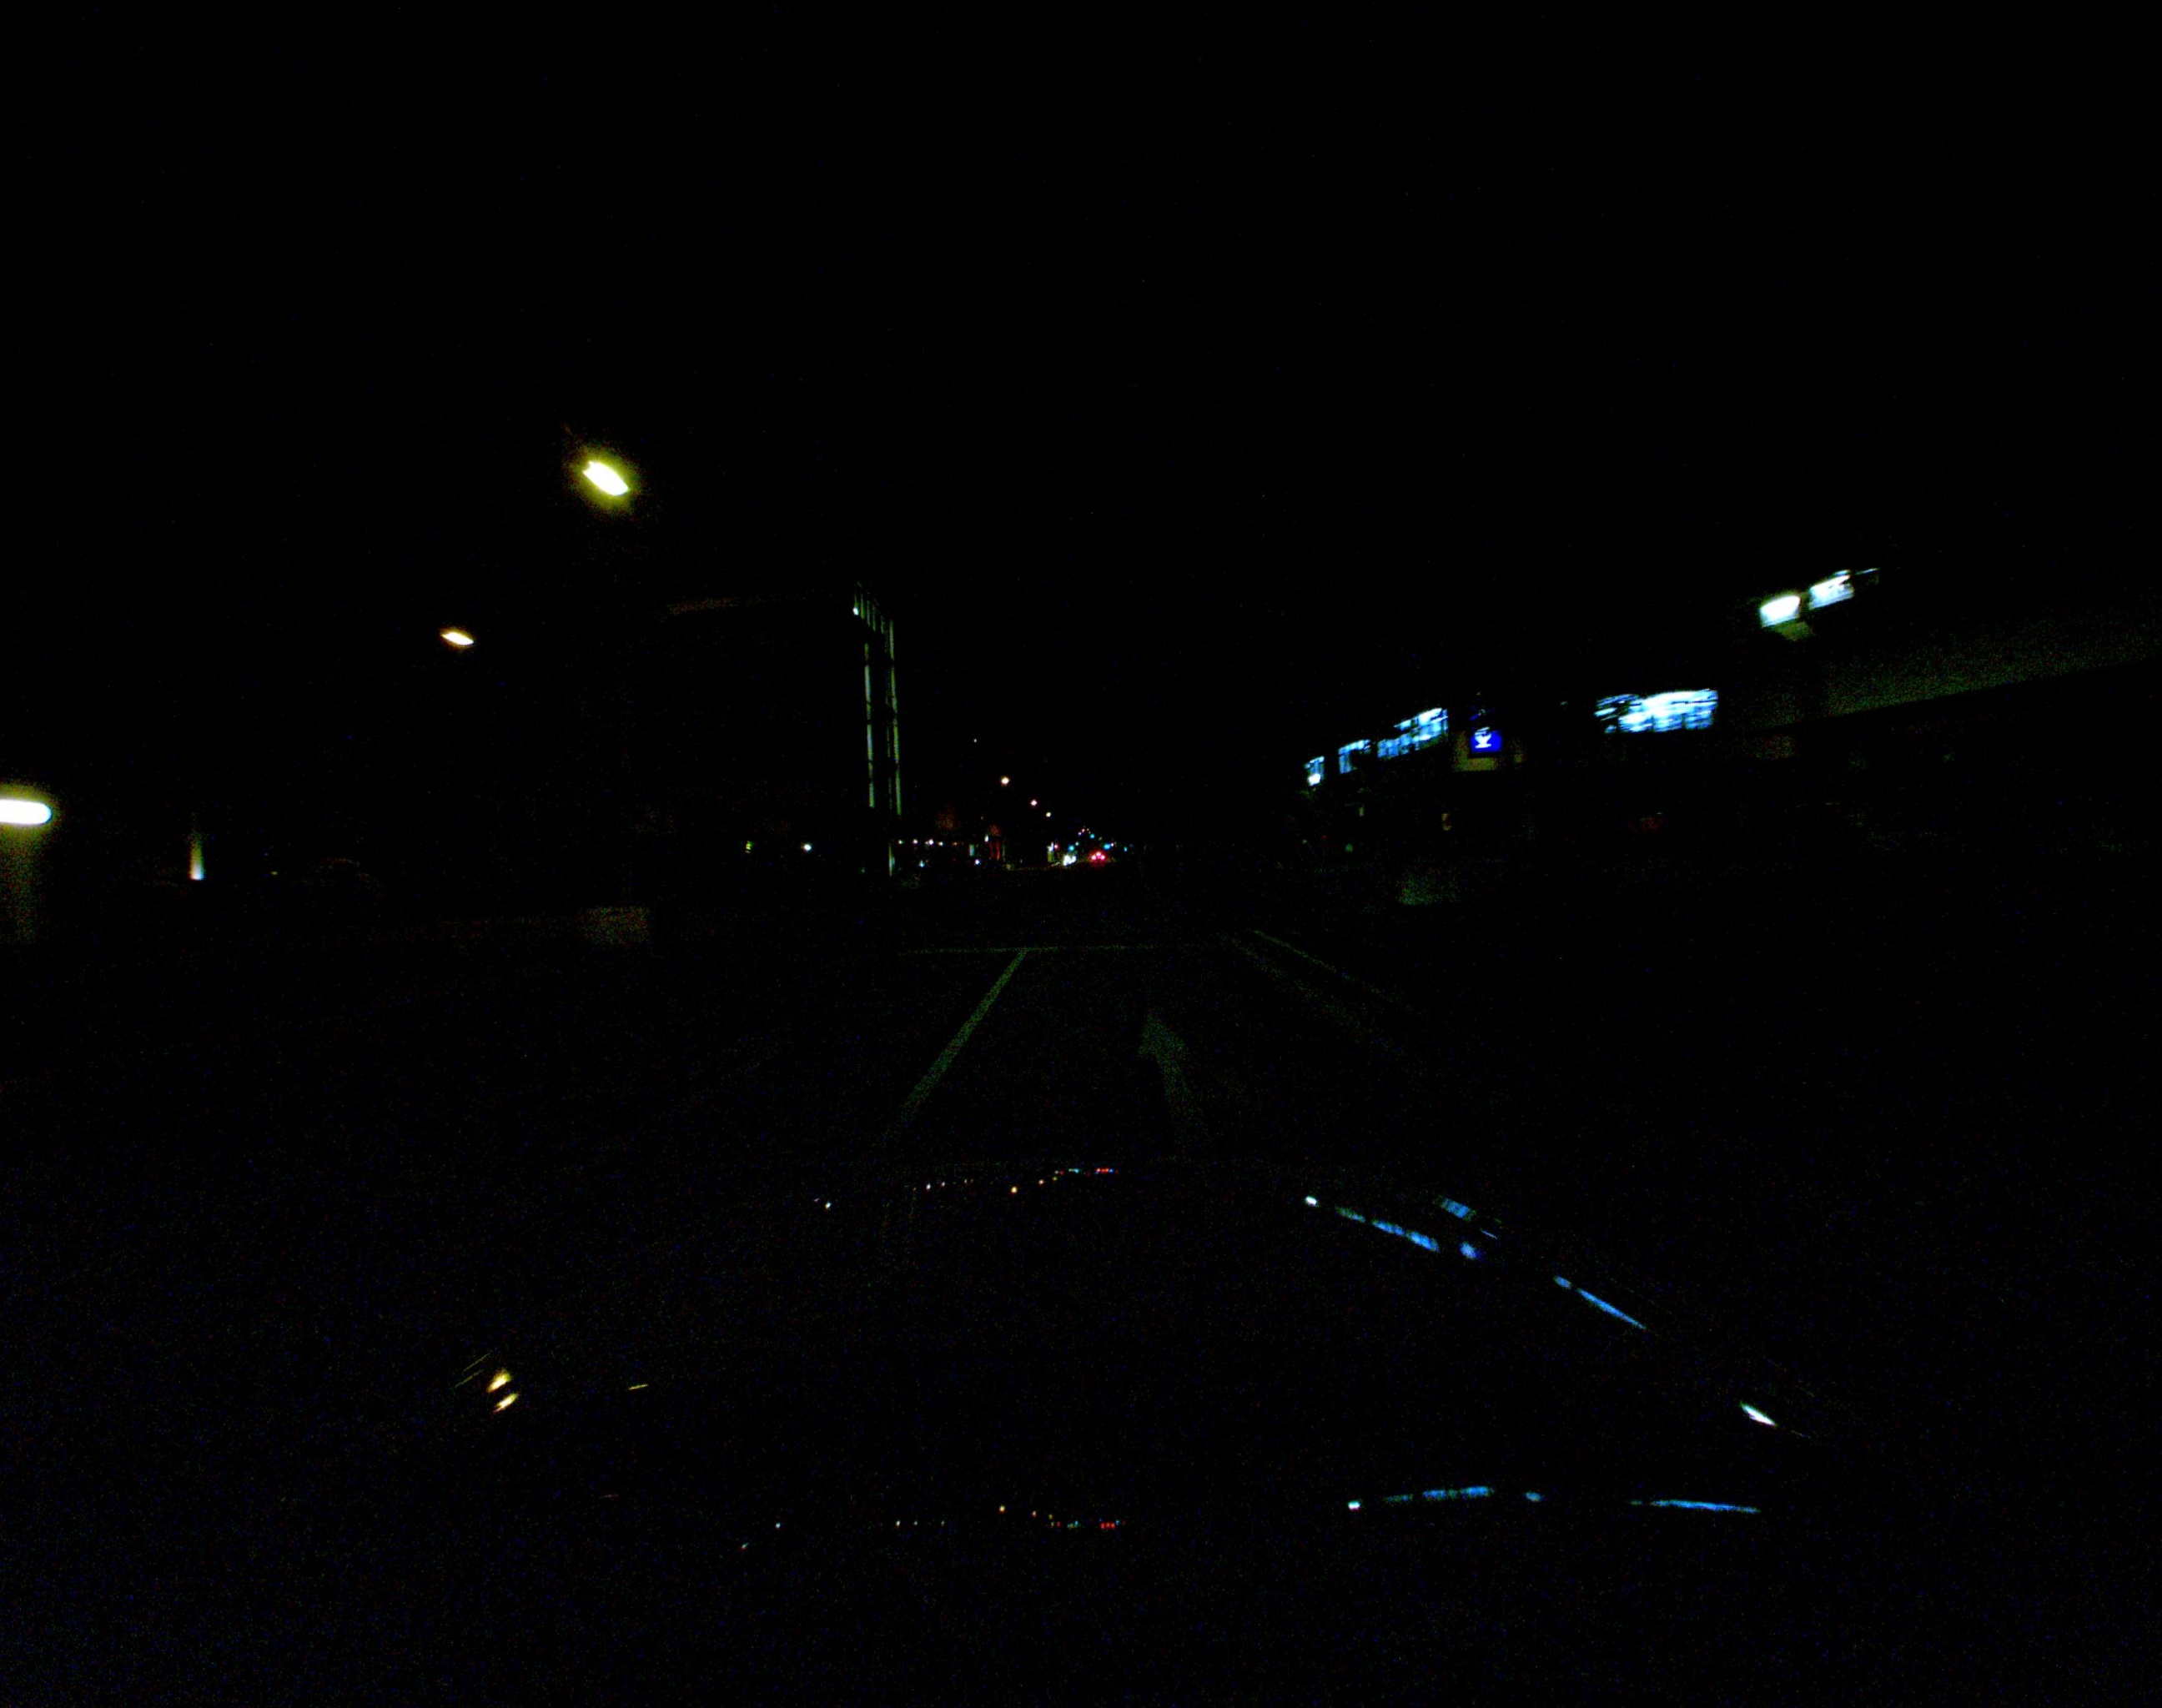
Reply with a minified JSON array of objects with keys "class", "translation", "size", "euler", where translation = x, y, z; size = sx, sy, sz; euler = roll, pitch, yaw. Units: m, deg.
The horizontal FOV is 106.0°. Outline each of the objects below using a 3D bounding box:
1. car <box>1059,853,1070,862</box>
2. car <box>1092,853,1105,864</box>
[{"class":"car","translation":[-3.221,0.649,157.367],"size":[1.987,1.643,4.000],"euler":[-4,0,0]},{"class":"car","translation":[2.794,0.752,132.514],"size":[1.987,1.643,4.001],"euler":[-4,0,1]}]
